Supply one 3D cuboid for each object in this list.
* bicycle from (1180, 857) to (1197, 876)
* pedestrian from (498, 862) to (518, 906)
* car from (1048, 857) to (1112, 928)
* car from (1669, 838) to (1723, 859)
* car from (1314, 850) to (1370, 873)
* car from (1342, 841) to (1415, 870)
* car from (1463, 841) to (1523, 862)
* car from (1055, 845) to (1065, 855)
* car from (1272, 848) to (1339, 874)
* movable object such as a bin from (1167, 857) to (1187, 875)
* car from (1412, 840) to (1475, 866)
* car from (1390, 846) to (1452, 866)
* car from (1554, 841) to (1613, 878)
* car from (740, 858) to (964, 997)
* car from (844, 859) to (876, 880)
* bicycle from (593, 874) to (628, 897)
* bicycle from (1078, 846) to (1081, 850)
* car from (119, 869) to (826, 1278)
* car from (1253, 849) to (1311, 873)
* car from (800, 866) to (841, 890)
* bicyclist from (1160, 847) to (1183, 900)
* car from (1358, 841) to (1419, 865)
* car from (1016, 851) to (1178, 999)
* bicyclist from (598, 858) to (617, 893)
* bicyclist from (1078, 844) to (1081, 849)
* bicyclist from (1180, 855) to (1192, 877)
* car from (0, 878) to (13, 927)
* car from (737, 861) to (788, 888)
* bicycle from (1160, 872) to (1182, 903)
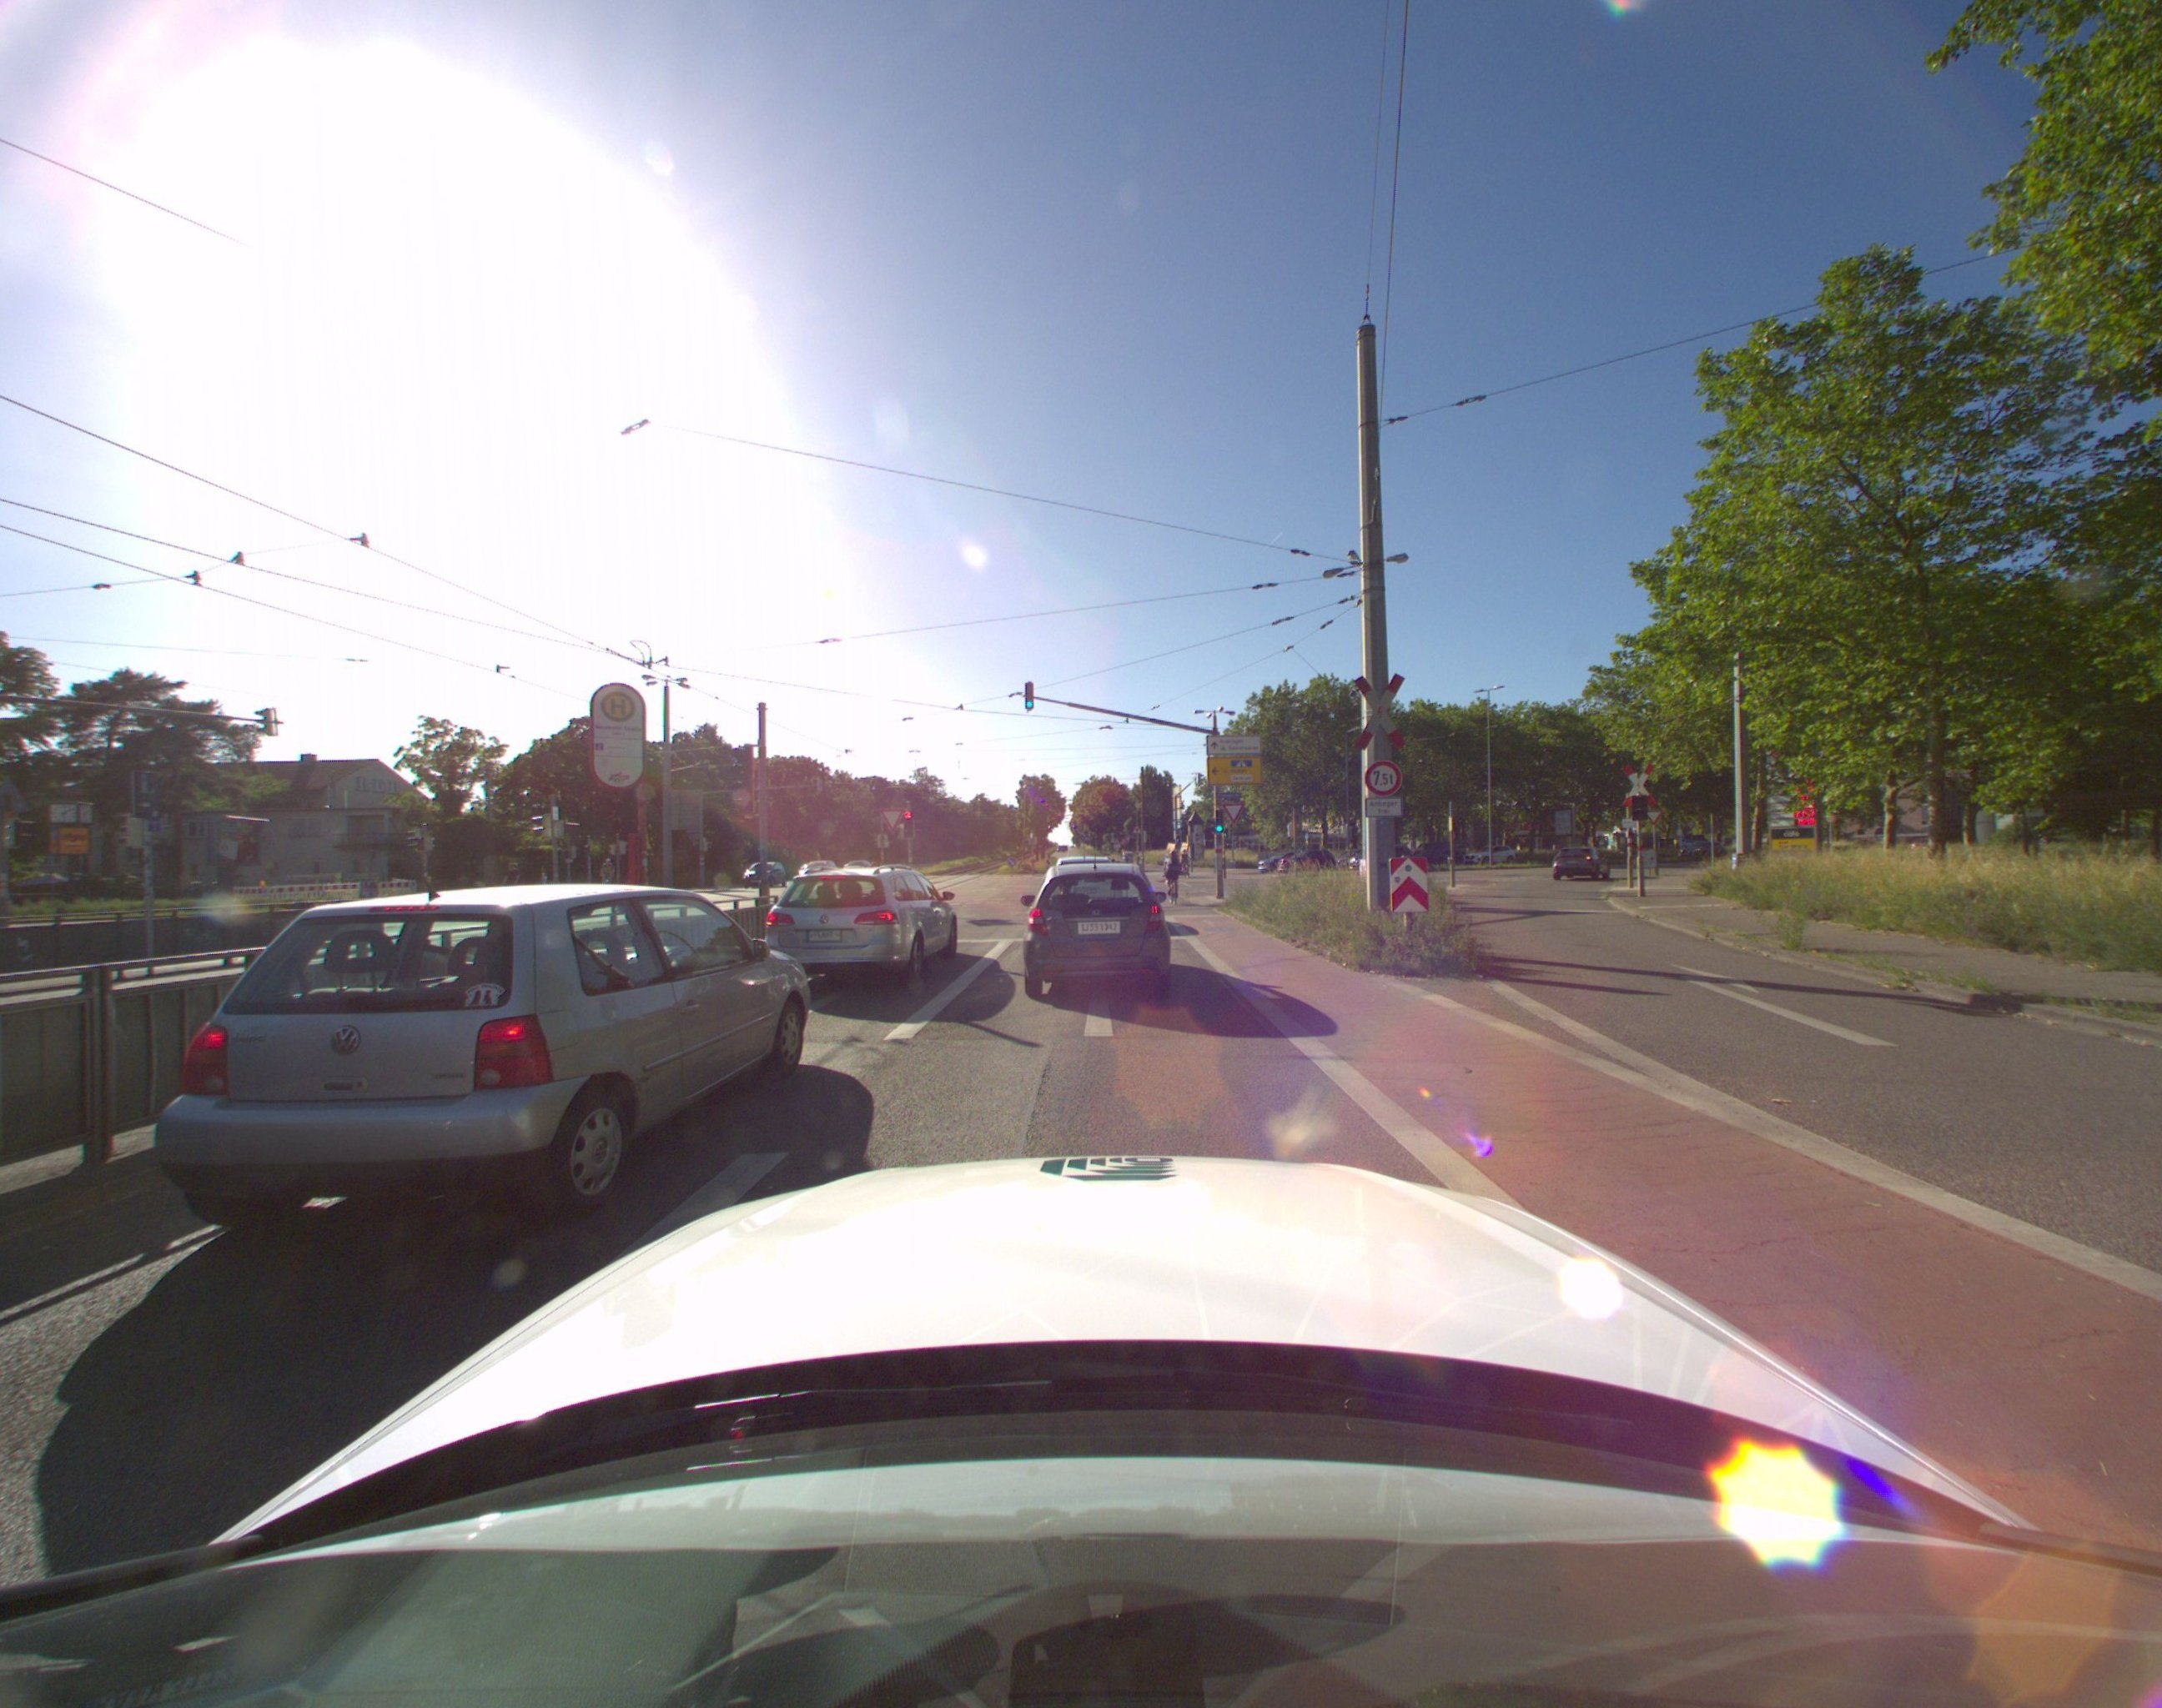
[{"bbox_3d":[6.390,0.724,48.505,0.466,1.119,1.815,-1,0,-8],"label":"bicycle"},{"bbox_3d":[-26.096,1.362,37.074,0.615,1.948,0.767,-1,0,-43],"label":"pedestrian"},{"bbox_3d":[-0.016,0.851,19.406,1.347,1.527,3.123,-2,0,0],"label":"car"},{"bbox_3d":[51.012,-0.446,67.549,4.008,1.618,1.983,-1,0,-26],"label":"car"},{"bbox_3d":[19.565,0.531,61.031,3.869,1.600,1.698,-2,0,-27],"label":"car"},{"bbox_3d":[19.271,0.082,52.727,4.504,1.711,1.904,-2,0,-27],"label":"car"},{"bbox_3d":[33.571,-0.194,66.405,4.785,1.682,1.892,0,-1,-26],"label":"car"},{"bbox_3d":[-4.740,-0.895,181.190,1.987,2.013,4.000,-2,0,0],"label":"car"},{"bbox_3d":[14.961,0.435,54.333,4.095,1.600,1.802,-2,0,-23],"label":"car"},{"bbox_3d":[5.942,0.732,50.431,0.908,1.068,1.313,-1,0,-7],"label":"movable object such as a bin"},{"bbox_3d":[30.686,-0.127,68.877,5.131,2.070,2.112,-1,0,-28],"label":"car"},{"bbox_3d":[26.496,0.152,63.508,4.579,1.408,1.918,-1,0,-26],"label":"car"},{"bbox_3d":[24.330,0.242,39.361,1.803,1.704,3.796,-1,0,42],"label":"car"},{"bbox_3d":[-2.946,0.856,11.559,1.871,1.527,4.420,-2,0,0],"label":"car"},{"bbox_3d":[-18.362,1.245,67.796,1.788,1.687,3.994,-2,0,-5],"label":"car"},{"bbox_3d":[-22.652,1.513,39.212,0.505,1.042,1.949,-2,0,1],"label":"bicycle"},{"bbox_3d":[-0.429,-1.687,223.348,0.815,1.048,2.506,0,-1,1],"label":"bicycle"},{"bbox_3d":[-2.857,0.867,4.817,1.576,1.468,3.414,-1,0,0],"label":"car"},{"bbox_3d":[14.467,0.527,58.527,3.869,1.600,1.698,-2,0,-27],"label":"car"},{"bbox_3d":[-18.526,1.678,58.090,1.811,1.596,4.684,-1,0,-5],"label":"car"},{"bbox_3d":[2.919,0.621,26.429,0.613,1.679,0.933,-2,-1,0],"label":"bicyclist"},{"bbox_3d":[21.727,-0.047,57.554,3.864,1.600,1.700,-1,0,-23],"label":"car"},{"bbox_3d":[0.230,0.758,10.420,1.664,1.515,3.675,-2,0,2],"label":"car"},{"bbox_3d":[-22.675,1.024,38.968,0.487,1.608,0.648,-2,0,1],"label":"bicyclist"},{"bbox_3d":[-0.422,-2.054,223.373,0.815,1.524,0.966,0,-1,0],"label":"bicyclist"},{"bbox_3d":[6.336,0.716,49.108,0.509,1.340,0.563,-1,0,-9],"label":"bicyclist"},{"bbox_3d":[-33.899,1.489,22.880,4.258,1.466,1.921,-1,0,-27],"label":"car"},{"bbox_3d":[-18.576,1.173,47.688,1.679,1.458,3.699,-2,0,-3],"label":"car"},{"bbox_3d":[2.936,1.087,26.762,0.522,0.923,2.090,-2,0,2],"label":"bicycle"}]
